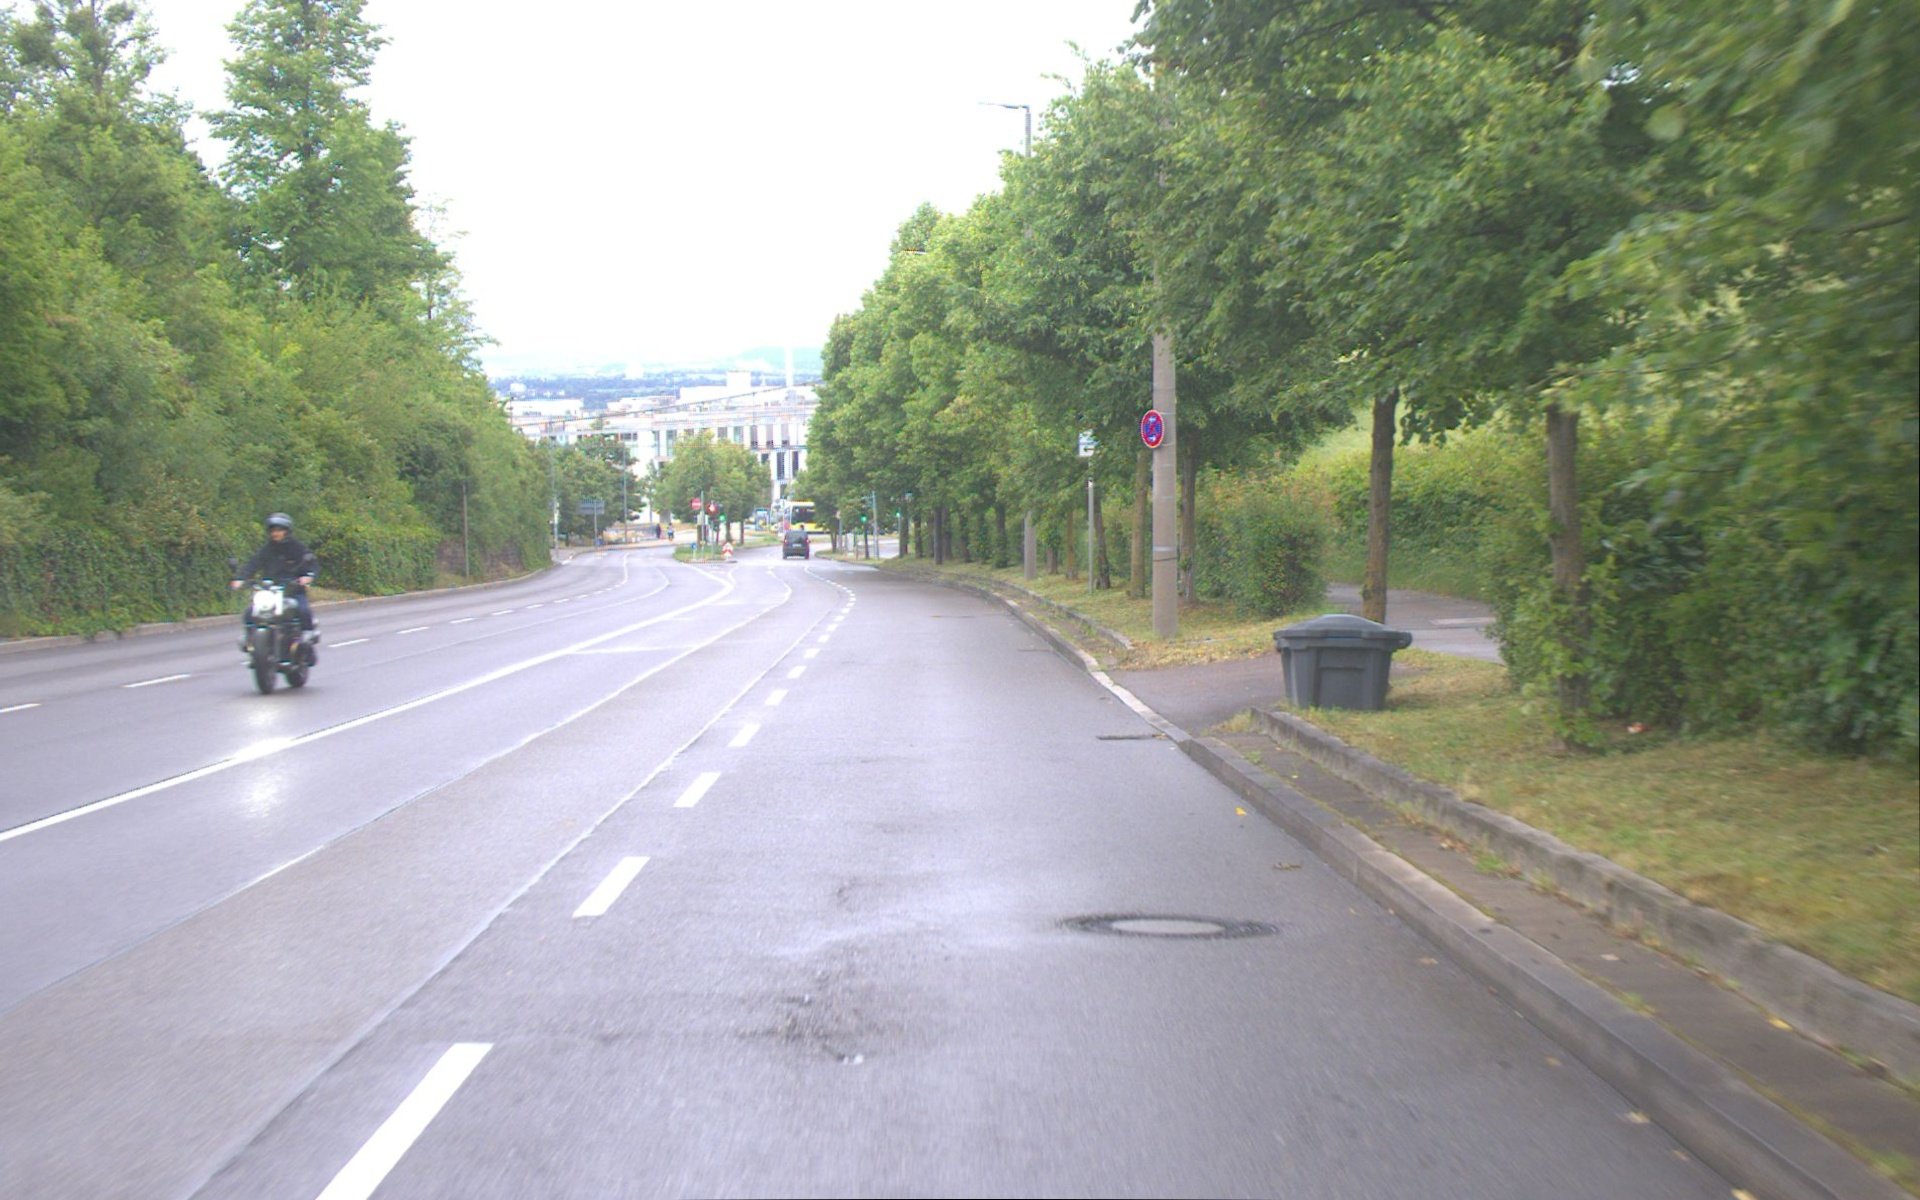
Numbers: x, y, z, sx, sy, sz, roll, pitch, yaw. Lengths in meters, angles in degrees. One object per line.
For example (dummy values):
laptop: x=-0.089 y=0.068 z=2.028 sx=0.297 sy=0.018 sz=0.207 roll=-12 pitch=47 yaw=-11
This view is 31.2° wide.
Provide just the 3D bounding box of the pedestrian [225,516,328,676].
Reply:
pedestrian: x=-6.690 y=-0.048 z=33.694 sx=0.805 sy=1.536 sz=1.111 roll=0 pitch=1 yaw=-1

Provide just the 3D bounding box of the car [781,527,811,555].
car: x=-10.566 y=-3.764 z=220.915 sx=1.849 sy=1.696 sz=3.793 roll=1 pitch=0 yaw=-3

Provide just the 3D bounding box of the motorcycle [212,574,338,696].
motorcycle: x=-6.690 y=0.324 z=33.680 sx=0.805 sy=1.127 sz=2.231 roll=0 pitch=1 yaw=-1
